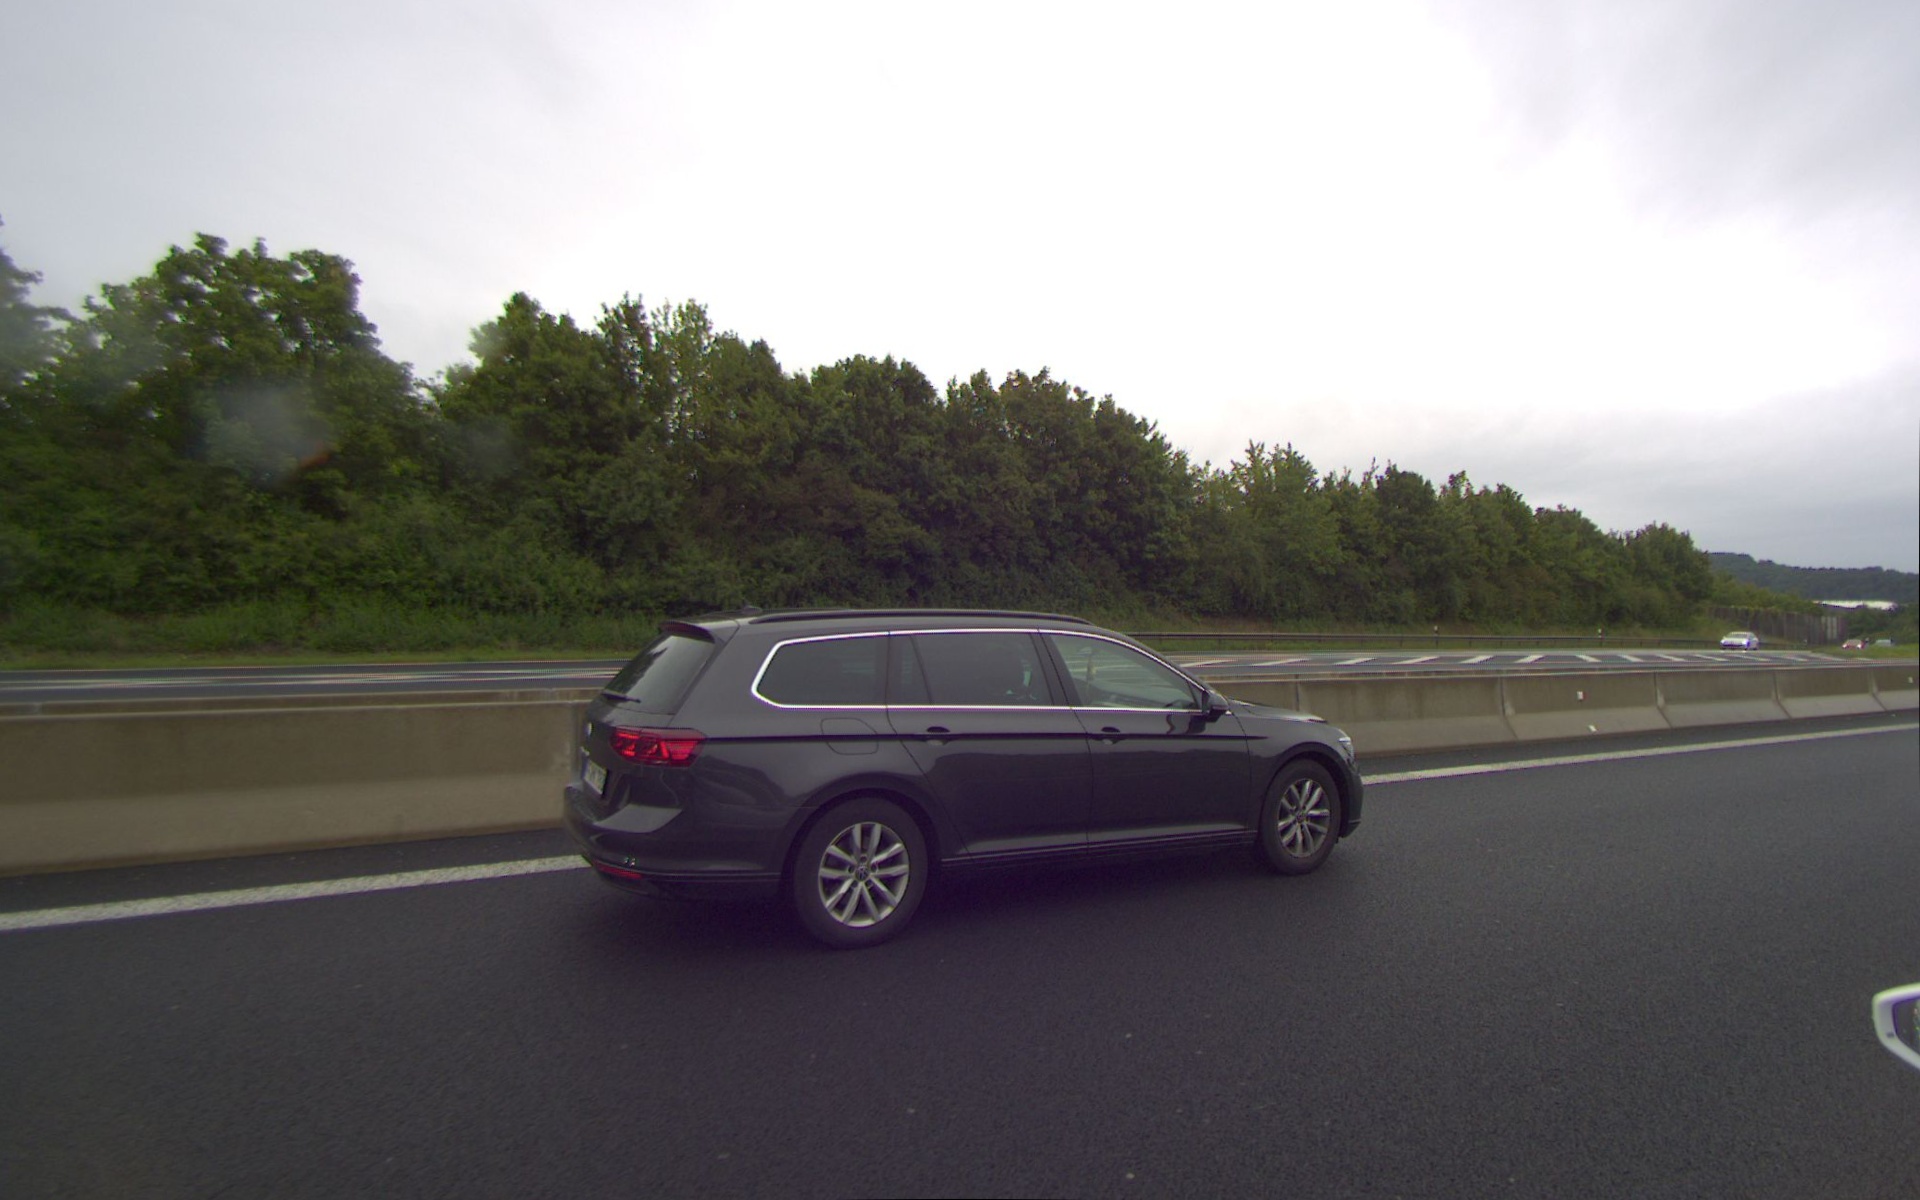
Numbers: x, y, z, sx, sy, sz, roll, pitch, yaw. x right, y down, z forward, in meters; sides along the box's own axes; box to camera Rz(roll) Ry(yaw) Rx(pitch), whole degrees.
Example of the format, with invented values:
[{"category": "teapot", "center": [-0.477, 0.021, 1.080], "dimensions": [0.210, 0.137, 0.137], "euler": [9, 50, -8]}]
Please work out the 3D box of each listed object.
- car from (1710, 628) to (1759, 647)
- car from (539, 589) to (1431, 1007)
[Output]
[{"category": "car", "center": [62.757, 3.064, 81.348], "dimensions": [4.350, 1.449, 2.163], "euler": [2, -1, -38]}, {"category": "car", "center": [0.318, 0.767, 5.689], "dimensions": [4.795, 1.517, 1.891], "euler": [1, -1, -30]}]
